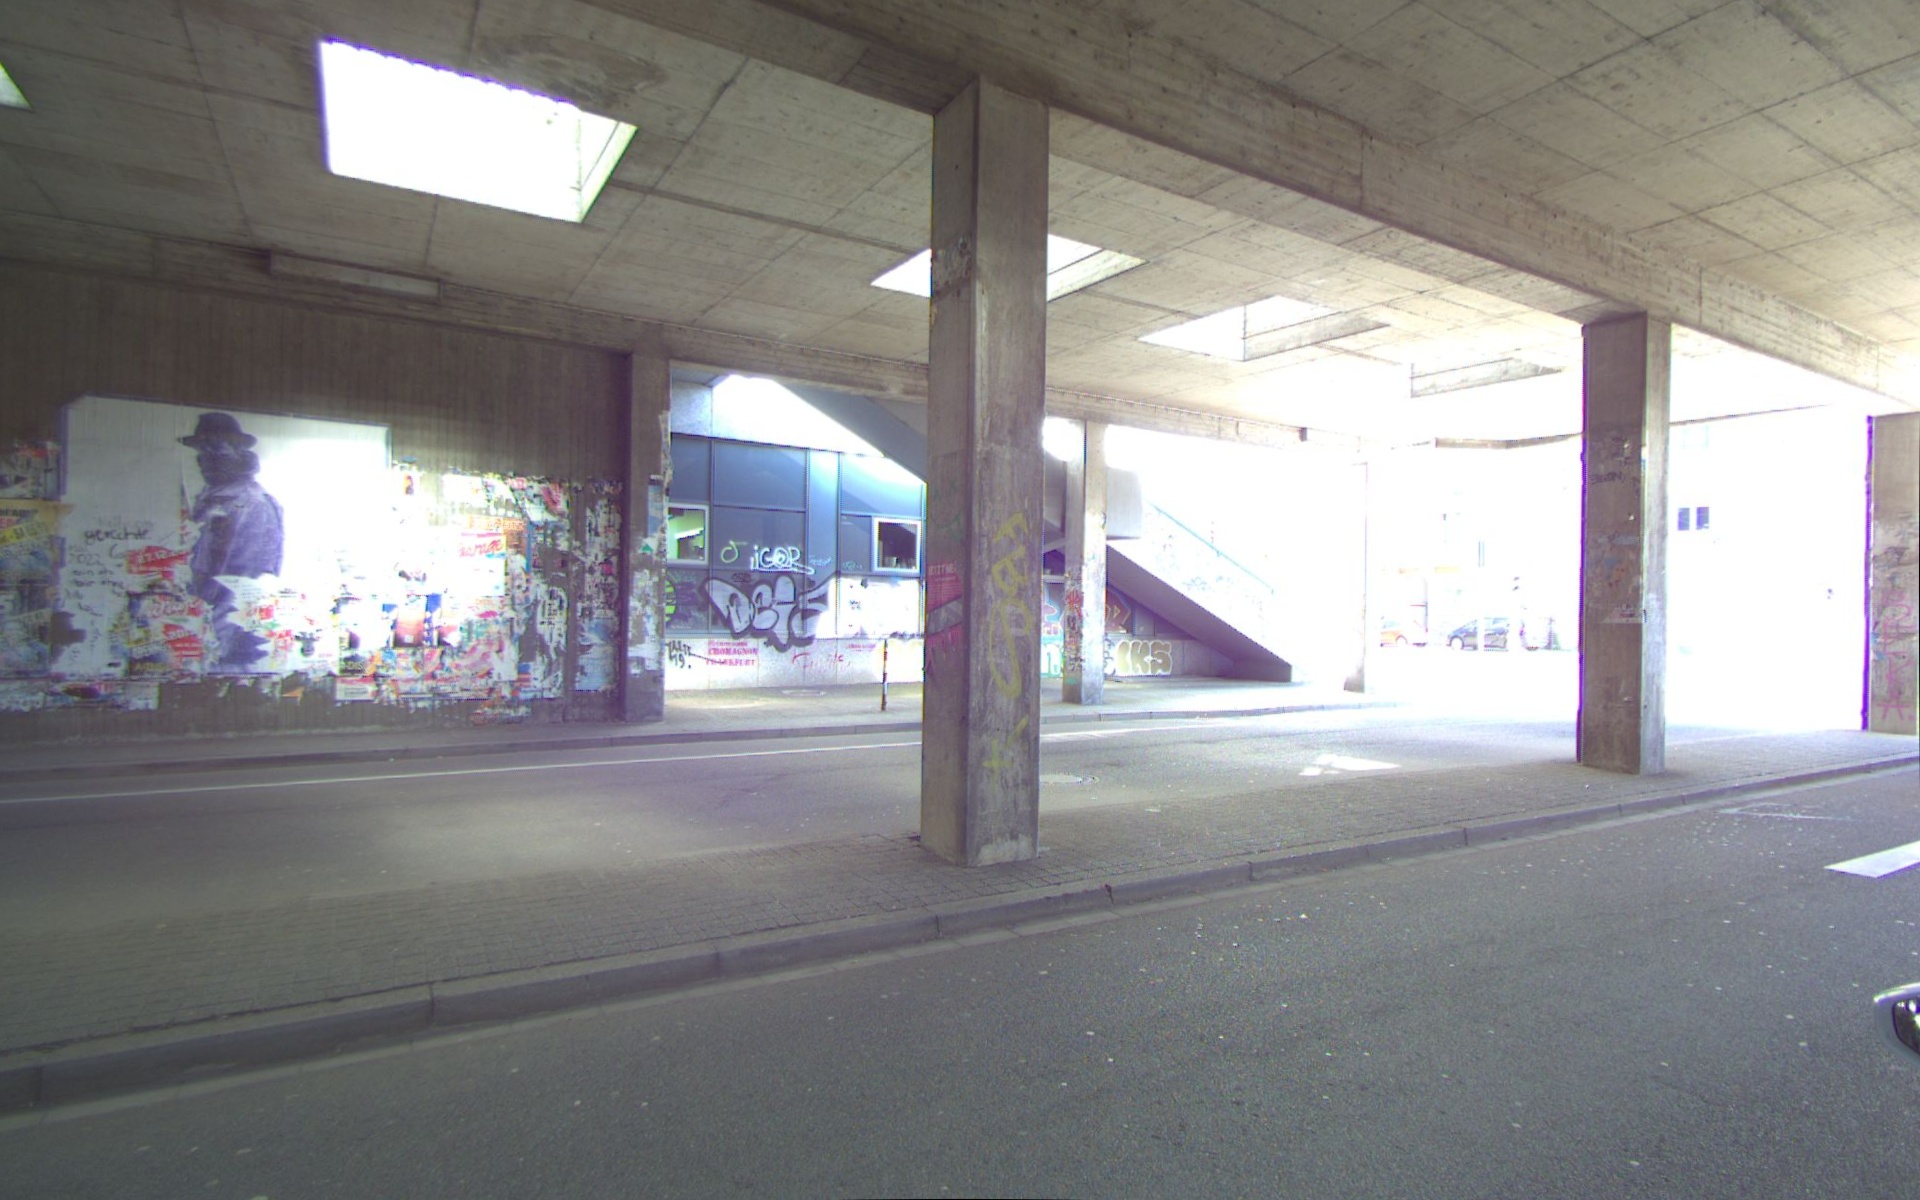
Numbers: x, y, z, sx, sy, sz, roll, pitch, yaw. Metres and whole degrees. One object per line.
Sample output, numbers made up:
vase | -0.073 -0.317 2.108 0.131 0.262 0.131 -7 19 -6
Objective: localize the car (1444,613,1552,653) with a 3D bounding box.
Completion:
car | 25.482 1.518 47.700 1.939 1.747 4.141 0 0 -29

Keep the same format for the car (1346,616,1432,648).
car | 22.472 1.665 52.717 1.876 1.561 3.861 0 0 -29
